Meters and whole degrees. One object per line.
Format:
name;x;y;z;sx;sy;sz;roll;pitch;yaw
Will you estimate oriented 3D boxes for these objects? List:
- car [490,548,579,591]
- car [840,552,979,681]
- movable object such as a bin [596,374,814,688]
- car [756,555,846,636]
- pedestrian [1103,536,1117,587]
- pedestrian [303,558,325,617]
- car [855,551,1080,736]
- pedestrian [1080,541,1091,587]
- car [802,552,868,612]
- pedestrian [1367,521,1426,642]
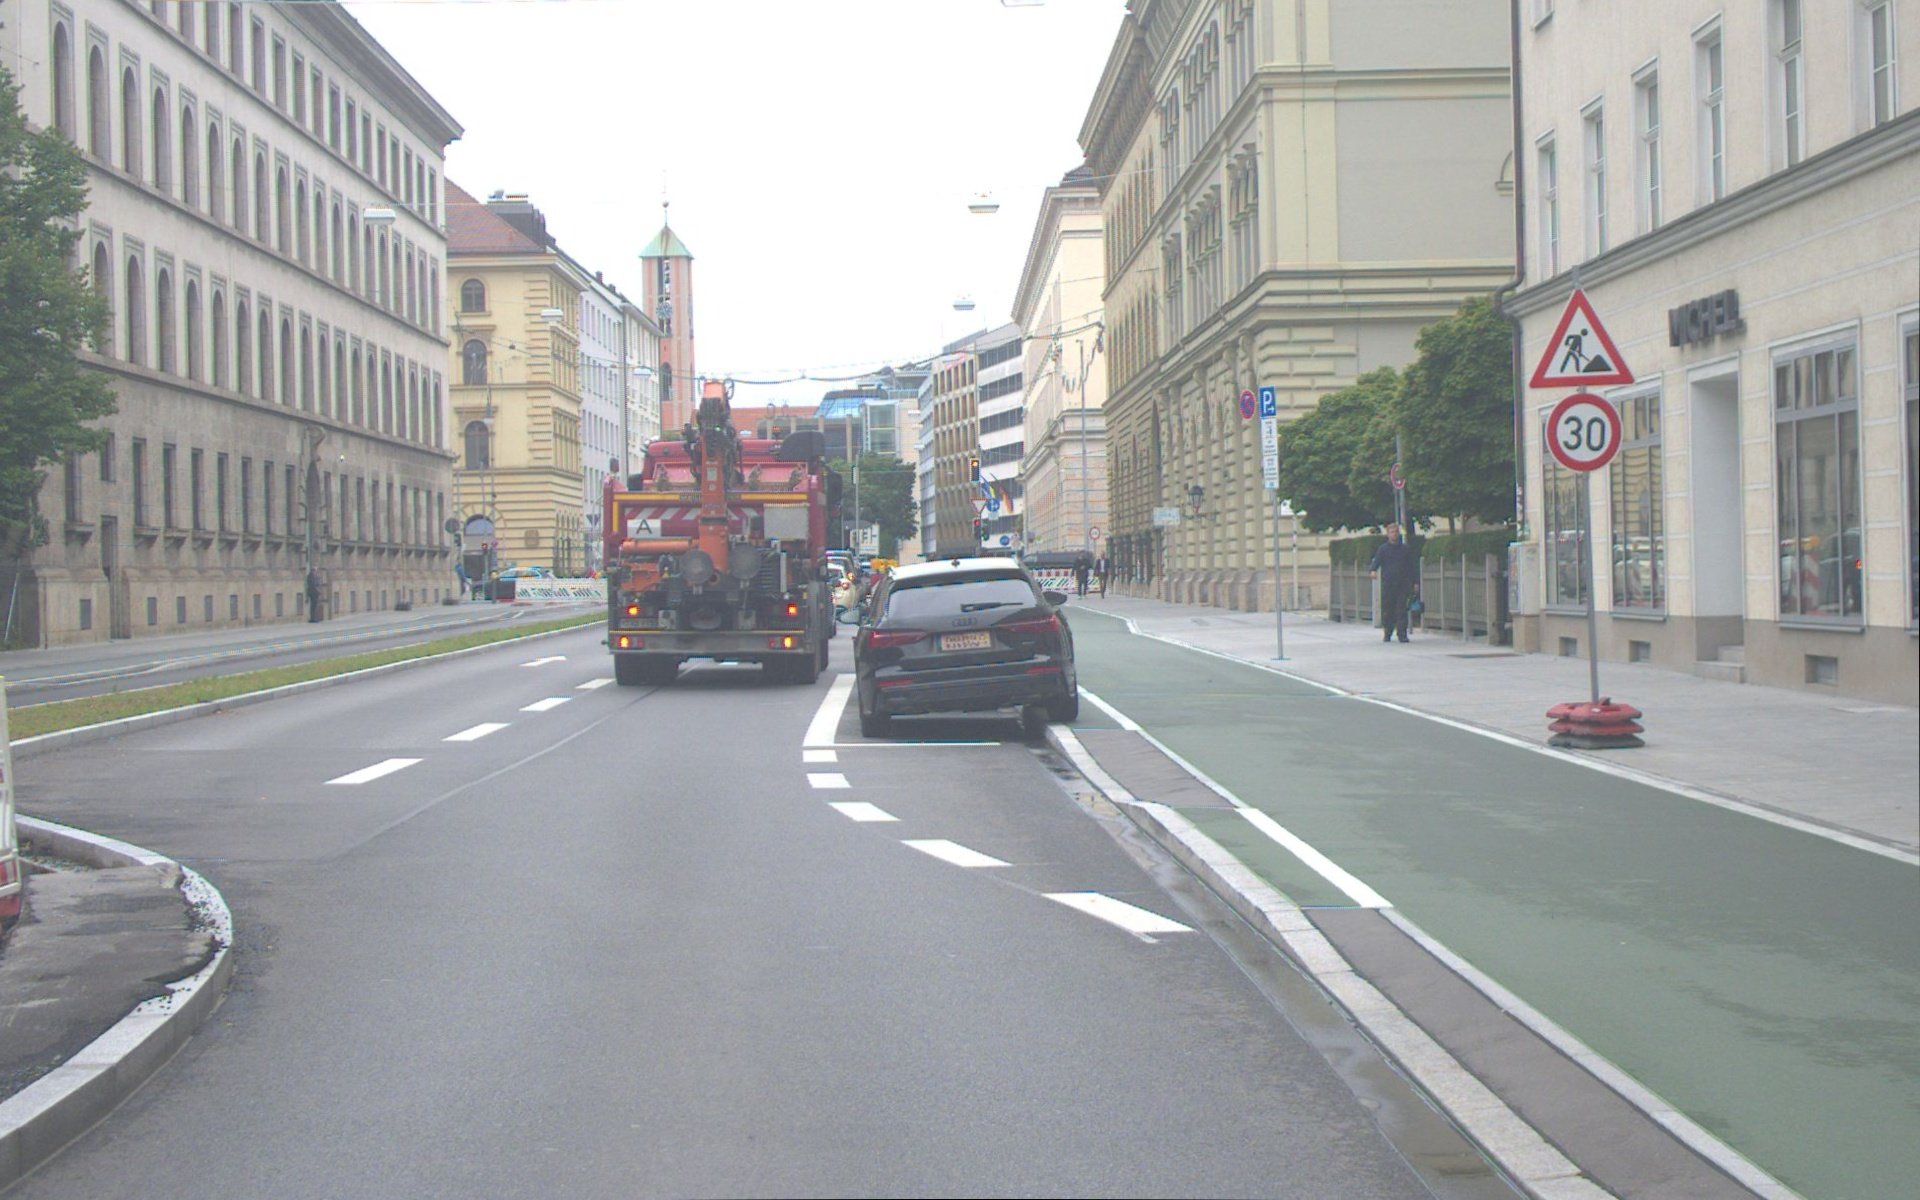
car;-20.414;-1.481;165.020;3.987;1.941;2.000;-1;1;1
car;-0.631;0.177;42.567;1.610;1.490;3.424;-1;1;-1
movable object such as a bin;-3.066;-0.835;42.574;2.423;3.599;5.852;-1;1;-2
car;-3.059;-0.107;66.786;1.610;1.490;3.424;-1;1;-1
pedestrian;5.423;-1.399;124.688;0.445;1.830;0.556;-1;1;0
pedestrian;-19.996;-0.393;106.413;0.588;1.825;0.499;0;1;-2
car;-0.010;0.325;30.613;1.801;1.475;4.687;-1;1;-2
pedestrian;4.545;-1.296;124.665;0.337;1.666;0.440;-1;1;0
car;-3.231;-0.472;89.421;1.610;1.490;3.425;-1;1;-1
pedestrian;6.751;-0.290;53.170;0.790;1.830;0.777;-1;1;0
